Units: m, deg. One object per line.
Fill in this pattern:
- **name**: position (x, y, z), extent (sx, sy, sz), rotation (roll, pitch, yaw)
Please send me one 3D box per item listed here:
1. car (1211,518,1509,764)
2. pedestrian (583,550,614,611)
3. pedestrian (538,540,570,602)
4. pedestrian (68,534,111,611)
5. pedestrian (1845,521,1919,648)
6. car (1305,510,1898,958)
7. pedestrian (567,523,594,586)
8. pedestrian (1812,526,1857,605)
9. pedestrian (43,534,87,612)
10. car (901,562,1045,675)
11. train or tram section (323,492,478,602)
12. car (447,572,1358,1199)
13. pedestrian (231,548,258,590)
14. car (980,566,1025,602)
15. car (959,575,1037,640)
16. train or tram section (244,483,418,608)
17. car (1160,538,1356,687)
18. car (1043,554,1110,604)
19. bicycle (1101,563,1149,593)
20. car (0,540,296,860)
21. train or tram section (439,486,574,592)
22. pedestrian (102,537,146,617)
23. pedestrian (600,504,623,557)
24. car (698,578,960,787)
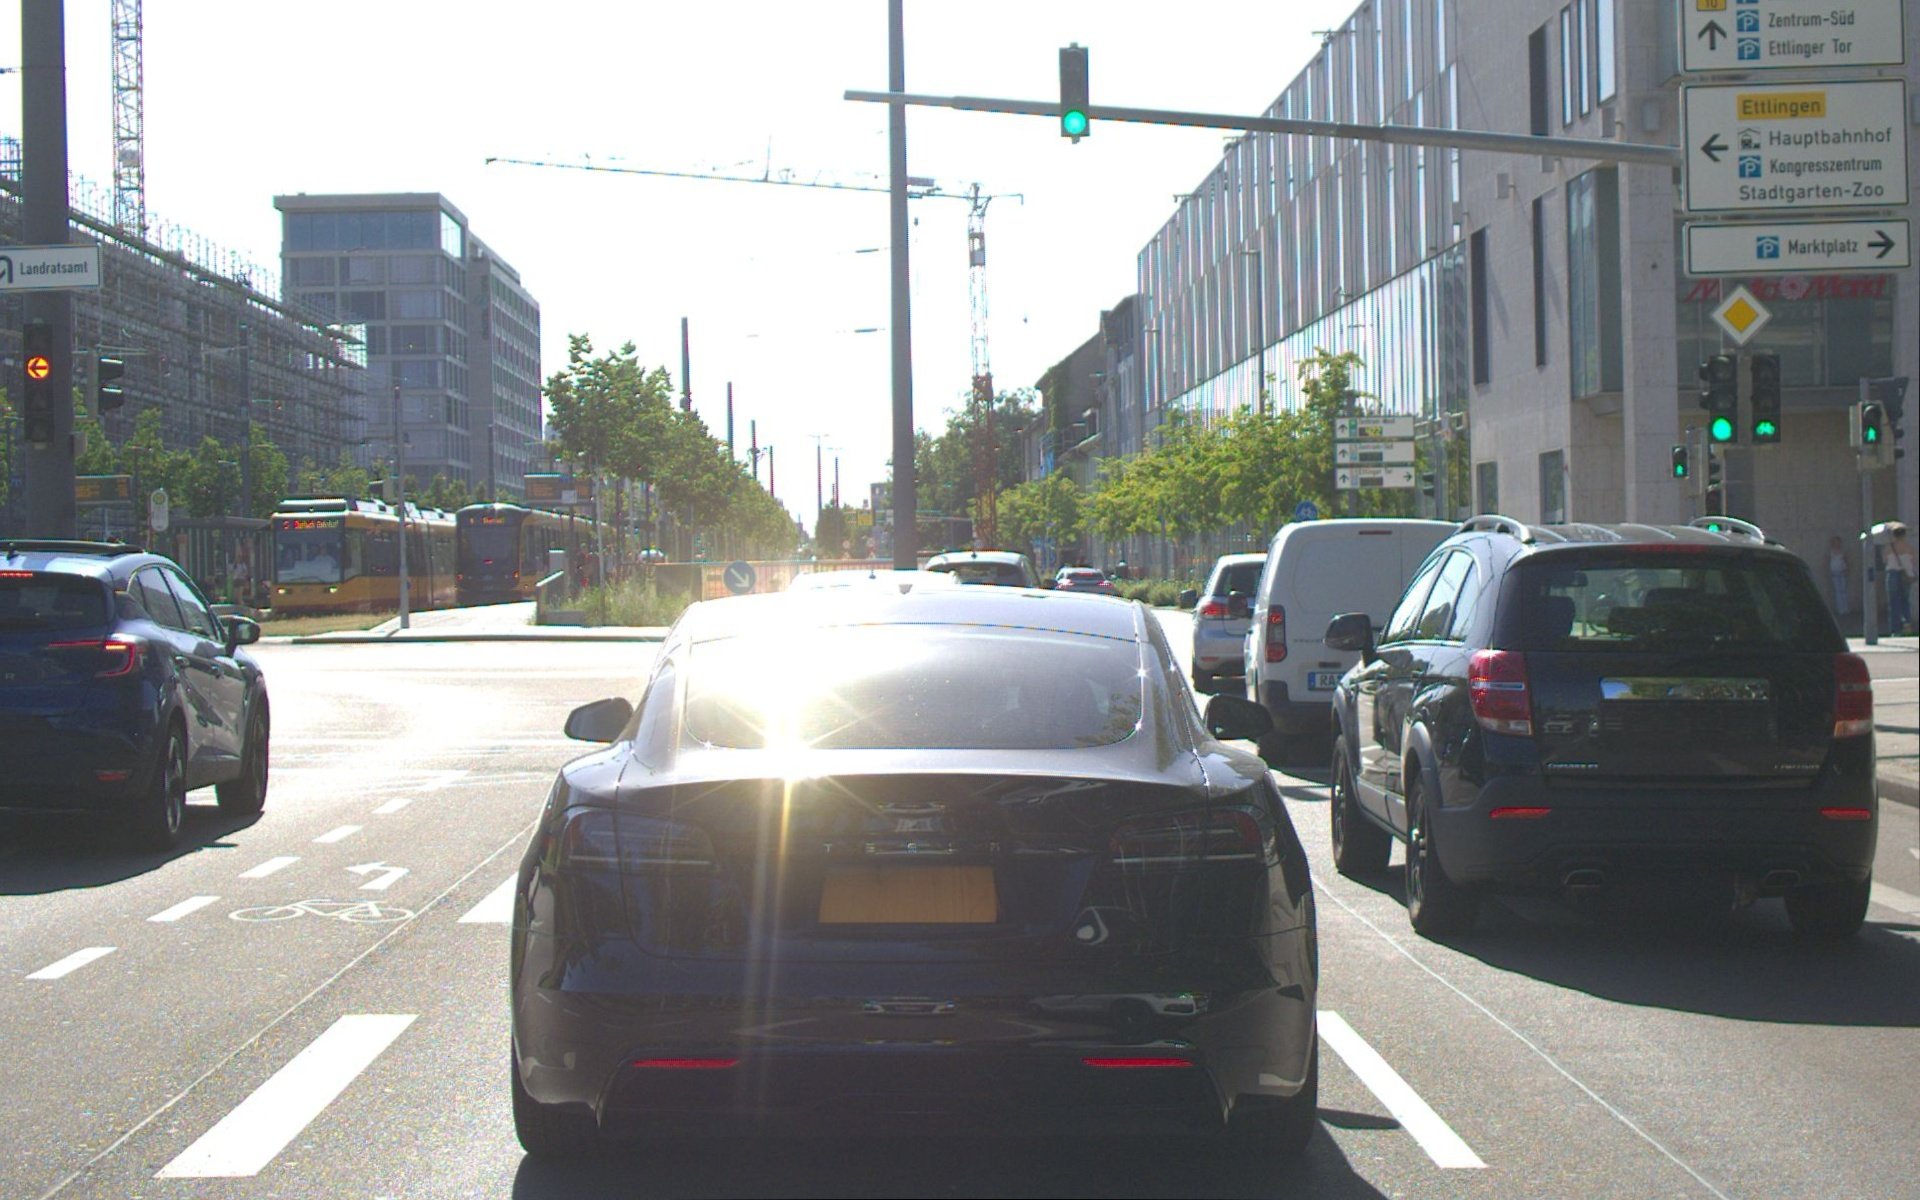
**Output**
- **car**: position (2.996, 0.255, 26.501), extent (1.784, 1.728, 4.163), rotation (-1, 1, 0)
- **pedestrian**: position (-9.805, -0.537, 93.272), extent (0.741, 1.623, 0.861), rotation (-1, 0, 0)
- **pedestrian**: position (-11.880, -0.856, 100.600), extent (0.874, 1.769, 1.189), rotation (1, 1, -4)
- **pedestrian**: position (-20.984, -0.667, 82.893), extent (0.800, 1.817, 0.976), rotation (-1, 1, -4)
- **pedestrian**: position (13.695, -0.242, 50.356), extent (0.967, 1.795, 1.523), rotation (-3, 1, -1)
- **car**: position (2.665, 0.471, 15.295), extent (1.784, 1.693, 4.413), rotation (-1, 1, 0)
- **pedestrian**: position (-10.777, -1.300, 97.589), extent (0.703, 1.769, 0.959), rotation (1, 1, -4)
- **pedestrian**: position (18.127, -0.714, 71.294), extent (0.747, 1.602, 0.557), rotation (-1, 1, -2)
- **pedestrian**: position (-21.067, -0.645, 80.929), extent (0.800, 1.817, 0.976), rotation (-1, 1, -4)
- **car**: position (0.129, 0.195, 43.303), extent (1.716, 1.315, 4.000), rotation (-1, 1, -1)
- **train or tram section**: position (-18.145, -1.628, 112.564), extent (2.847, 3.310, 15.967), rotation (1, 0, -2)
- **car**: position (-0.135, 0.649, 9.759), extent (1.999, 1.429, 4.413), rotation (0, 1, 0)
- **pedestrian**: position (-20.763, -0.892, 99.785), extent (0.671, 1.222, 0.506), rotation (1, 0, -4)
- **car**: position (1.910, -0.725, 155.688), extent (1.934, 1.536, 4.000), rotation (-1, 1, -1)
- **car**: position (0.856, 0.154, 80.000), extent (1.716, 1.427, 4.000), rotation (-1, 1, -1)
- **train or tram section**: position (-17.783, -1.534, 98.040), extent (2.870, 3.298, 13.074), rotation (1, 1, -2)
- **car**: position (3.238, 0.094, 38.033), extent (1.784, 1.540, 4.039), rotation (-1, 1, 0)
- **car**: position (3.718, -0.681, 110.098), extent (1.934, 1.536, 4.000), rotation (-1, 1, -1)
- **bicycle**: position (6.975, -0.928, 145.451), extent (1.881, 1.147, 0.672), rotation (-3, 1, -11)
- **car**: position (-4.939, 0.466, 19.137), extent (1.770, 1.583, 4.088), rotation (1, 1, -1)
- **train or tram section**: position (-15.082, -2.002, 115.409), extent (2.870, 3.268, 15.186), rotation (1, 1, -2)
- **pedestrian**: position (-19.478, -0.541, 80.075), extent (0.800, 1.817, 0.976), rotation (-1, 1, -4)
- **pedestrian**: position (-12.057, -2.401, 118.969), extent (0.671, 1.804, 1.075), rotation (-1, 0, -2)
- **car**: position (-0.886, 0.531, 24.627), extent (1.716, 1.315, 4.000), rotation (-1, 1, -1)
